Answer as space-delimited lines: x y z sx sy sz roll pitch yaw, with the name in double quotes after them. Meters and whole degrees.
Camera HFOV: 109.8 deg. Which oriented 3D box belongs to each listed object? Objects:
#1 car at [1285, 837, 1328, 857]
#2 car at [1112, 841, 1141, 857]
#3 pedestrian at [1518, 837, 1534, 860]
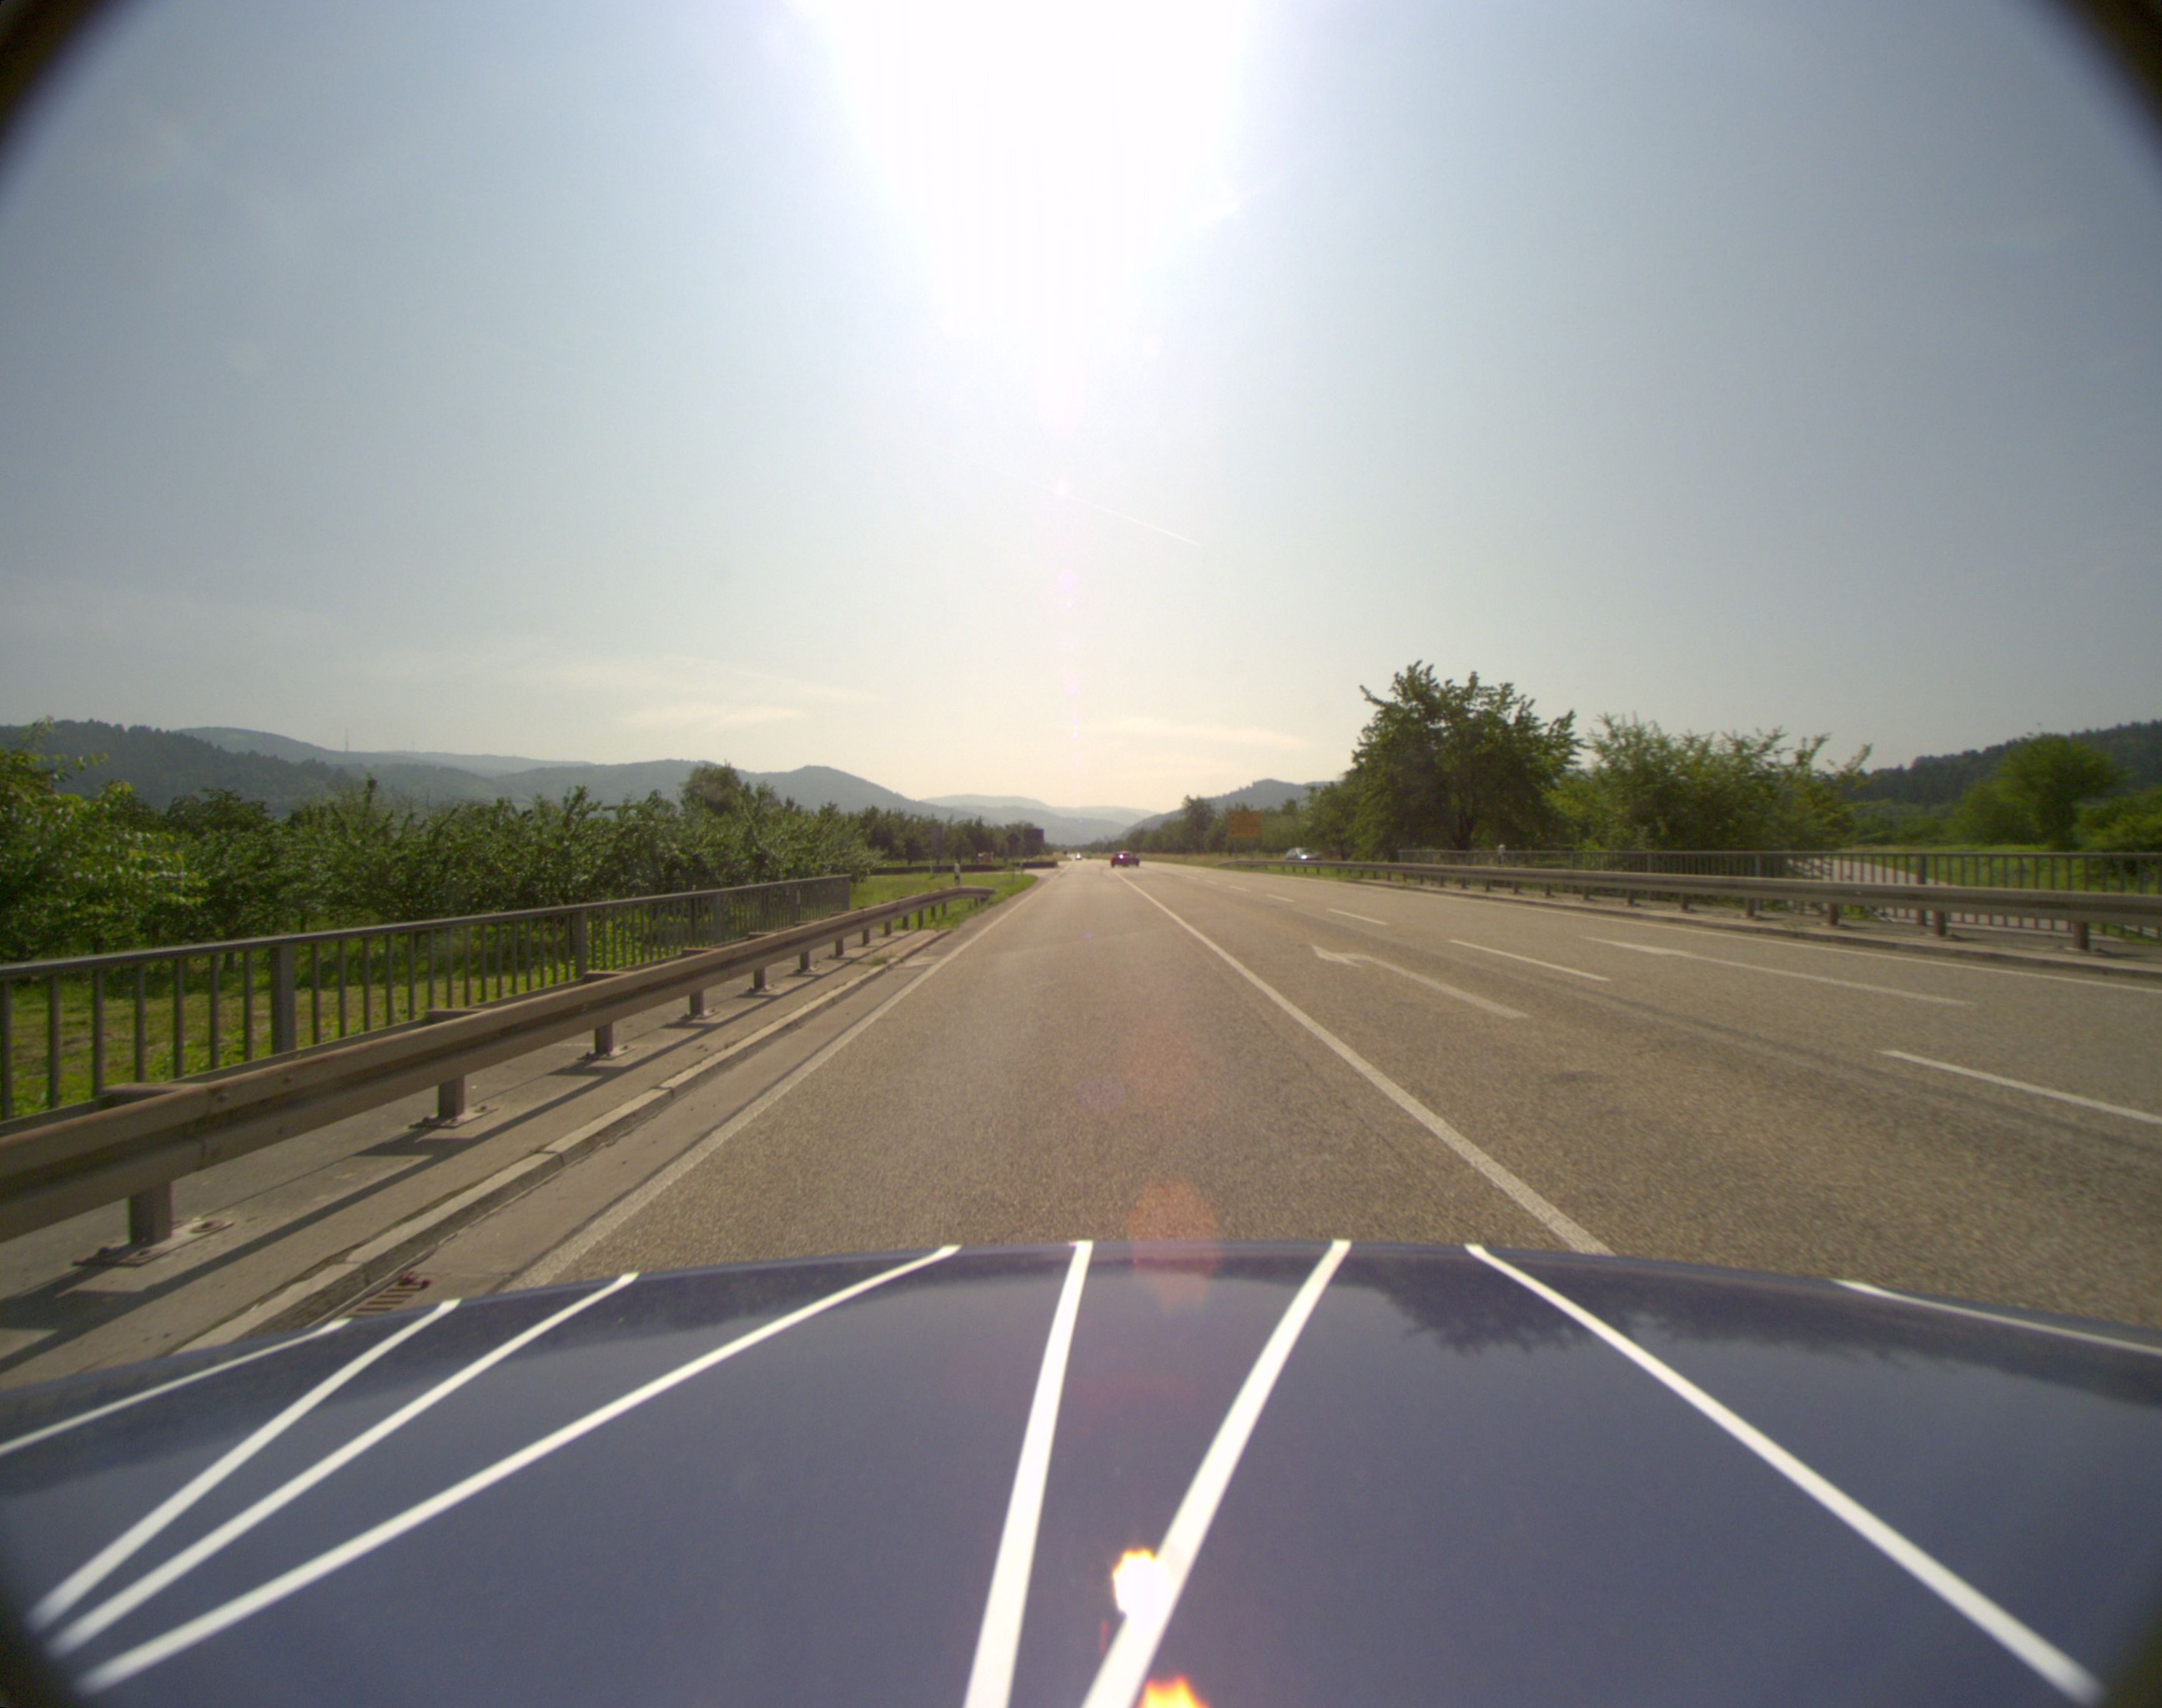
16.834 -0.519 56.906 1.709 1.415 4.041 -1 1 -4 "car"
4.556 -0.494 75.460 1.668 1.484 3.758 -2 1 23 "car"
26.048 -0.324 44.475 0.574 1.290 0.556 -2 1 2 "pedestrian"
